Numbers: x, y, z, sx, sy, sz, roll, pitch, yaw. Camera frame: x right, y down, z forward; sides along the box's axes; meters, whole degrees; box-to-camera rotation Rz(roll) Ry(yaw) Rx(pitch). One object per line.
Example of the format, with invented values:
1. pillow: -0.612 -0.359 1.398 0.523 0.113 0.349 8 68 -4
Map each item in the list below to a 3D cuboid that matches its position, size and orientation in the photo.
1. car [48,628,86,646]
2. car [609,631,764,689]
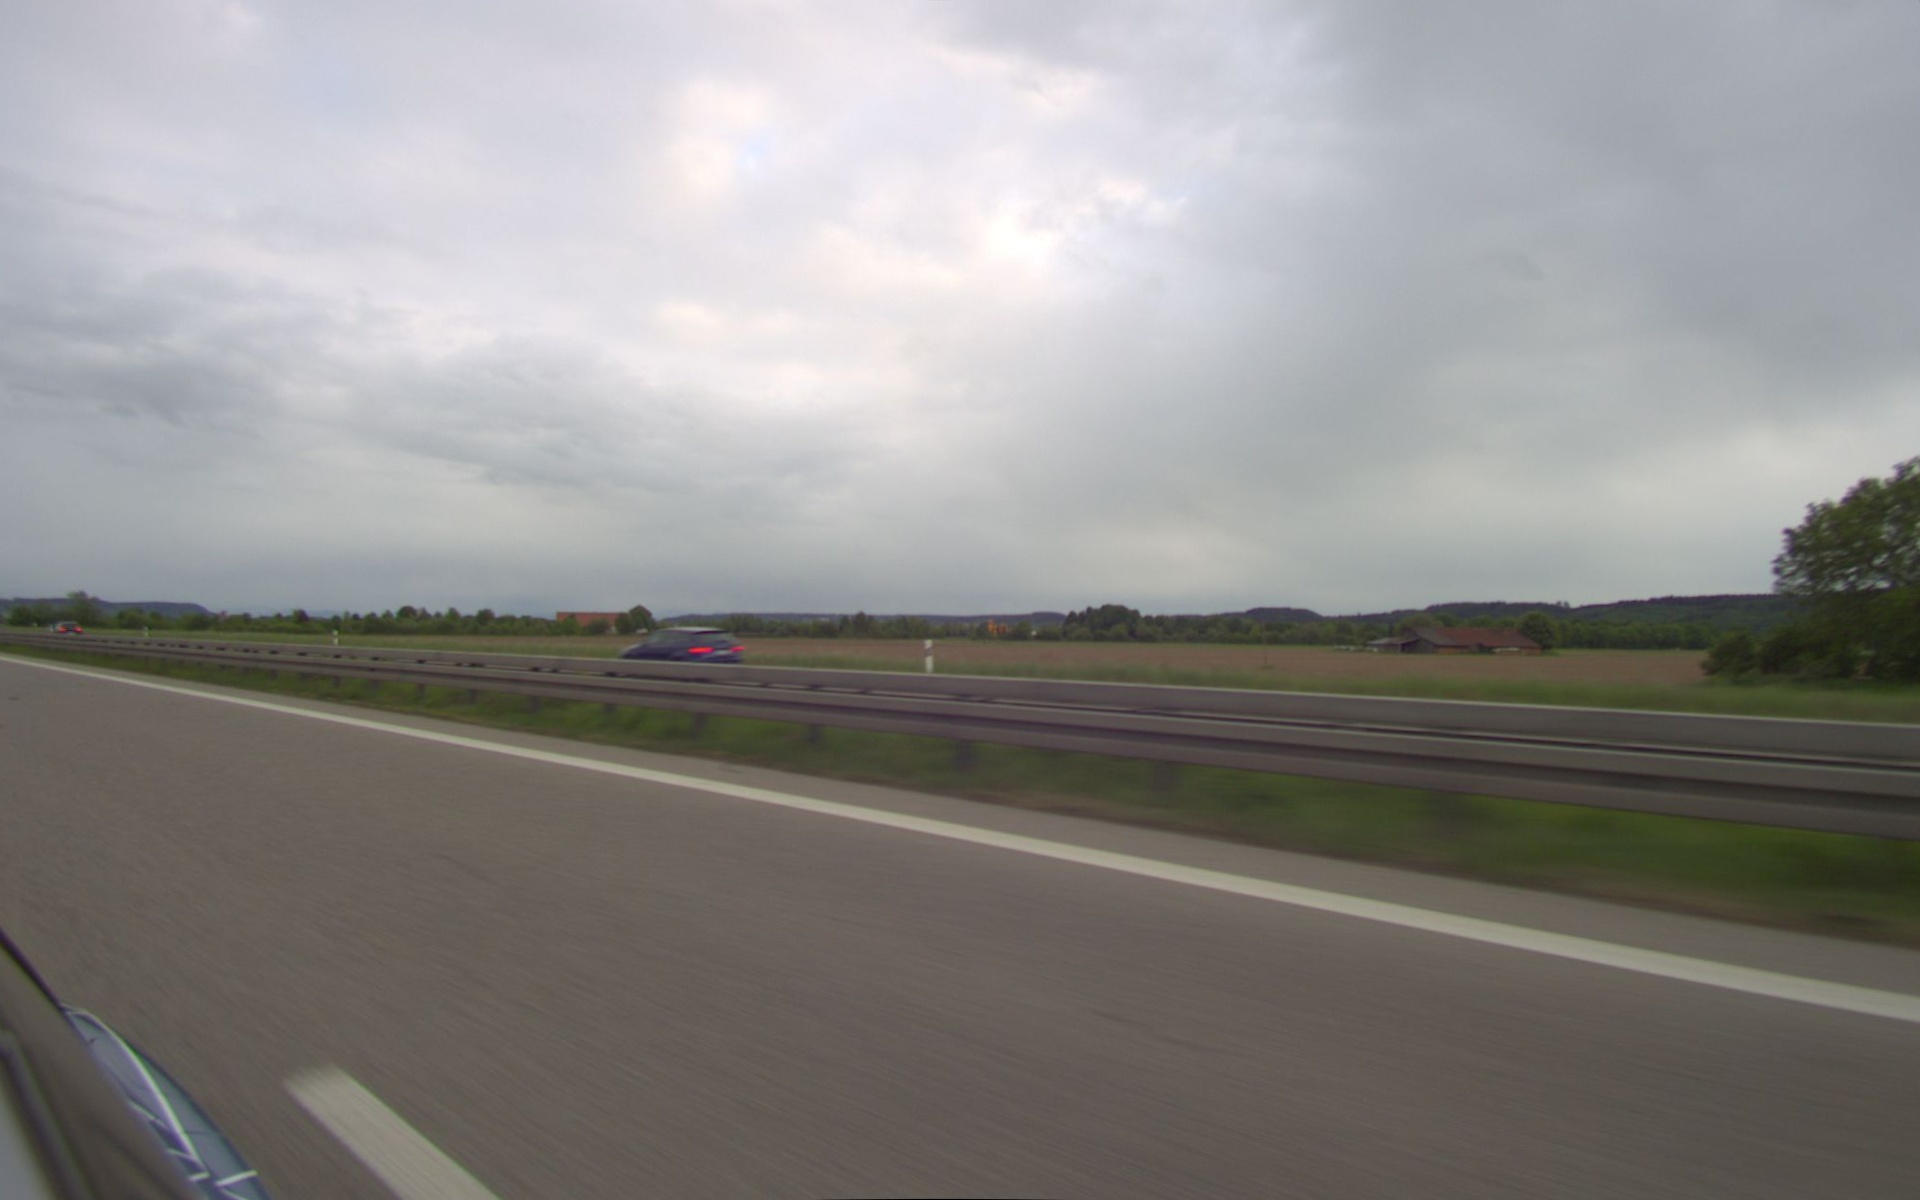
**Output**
1. car: -79.912 3.308 90.556 4.449 1.491 1.973 -1 -1 41
2. car: -7.613 1.596 27.947 4.521 1.427 1.973 -1 -1 41
